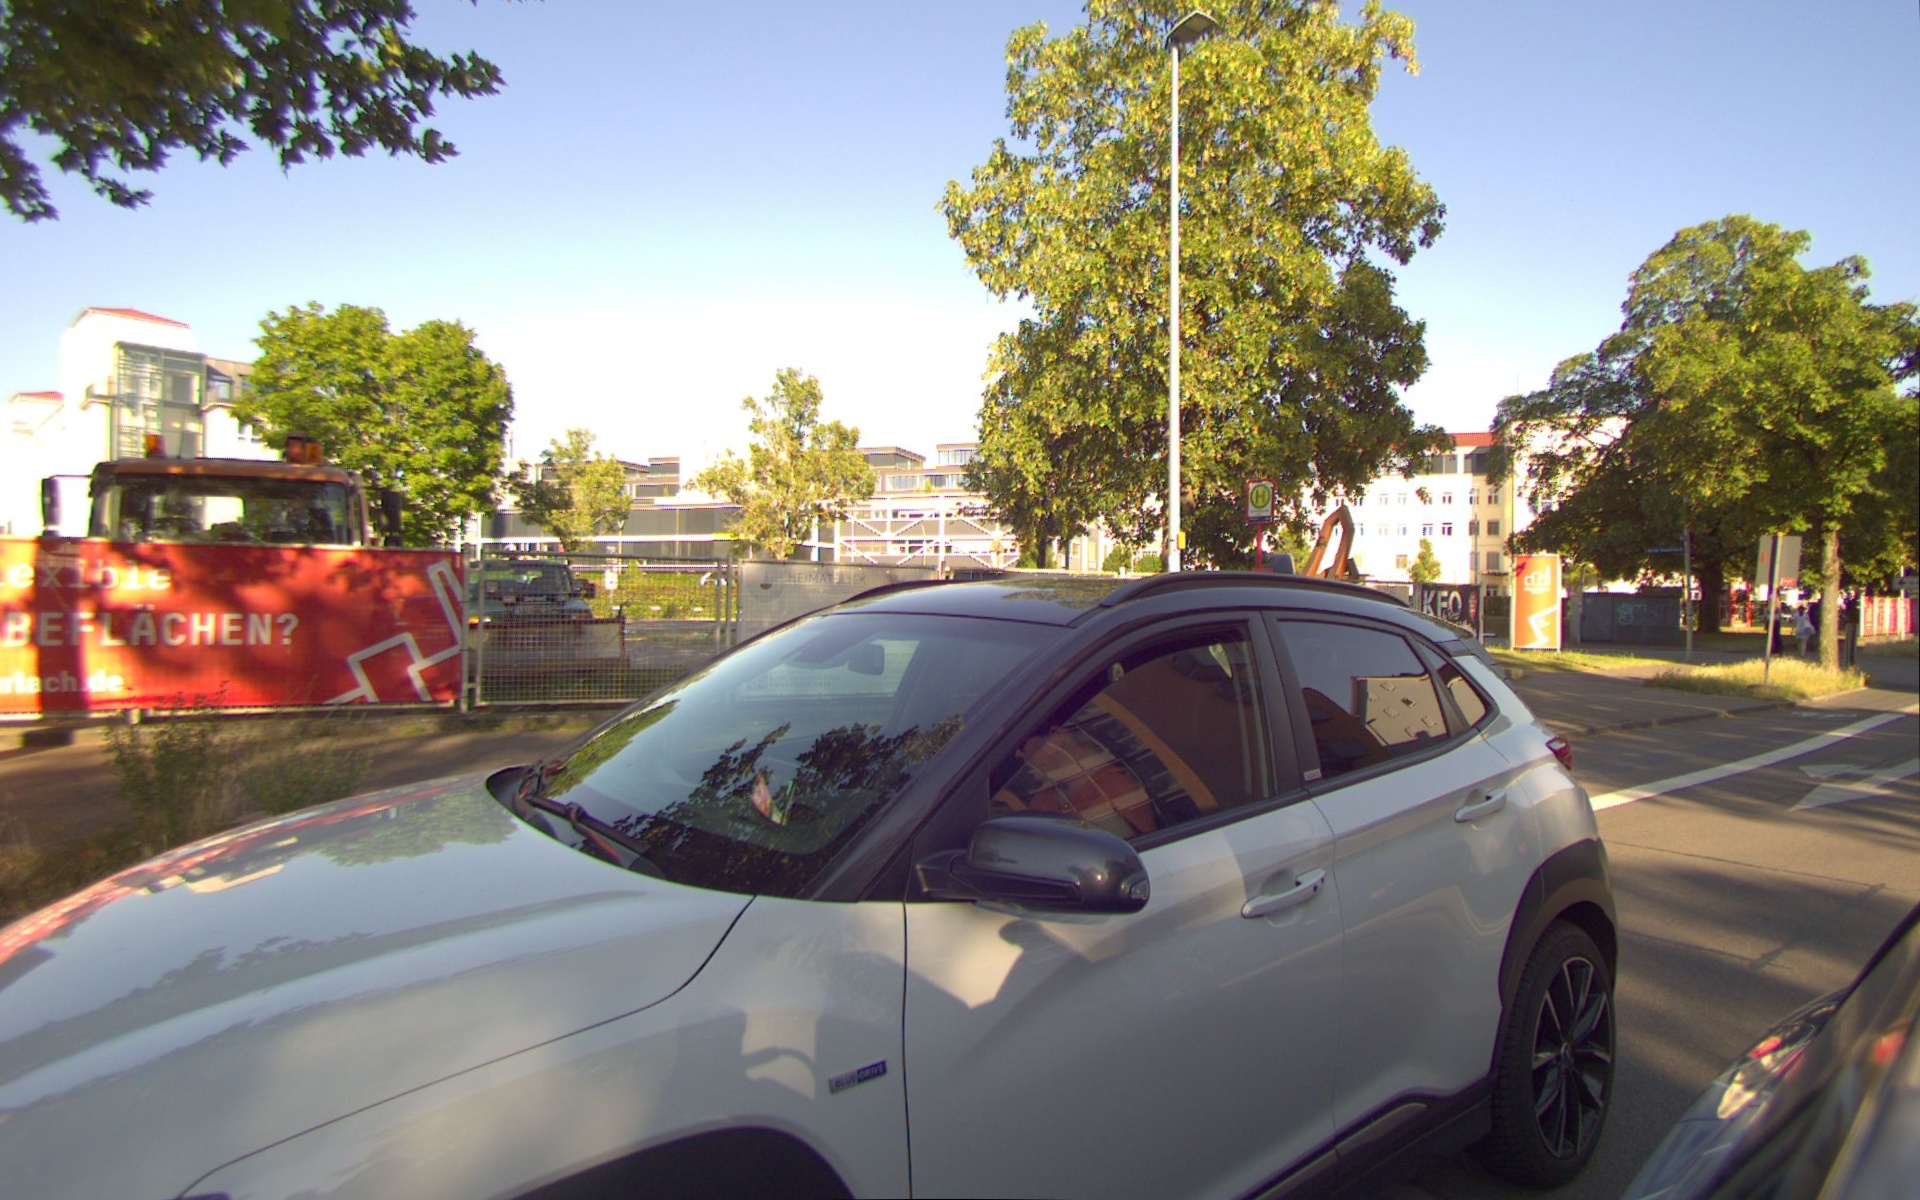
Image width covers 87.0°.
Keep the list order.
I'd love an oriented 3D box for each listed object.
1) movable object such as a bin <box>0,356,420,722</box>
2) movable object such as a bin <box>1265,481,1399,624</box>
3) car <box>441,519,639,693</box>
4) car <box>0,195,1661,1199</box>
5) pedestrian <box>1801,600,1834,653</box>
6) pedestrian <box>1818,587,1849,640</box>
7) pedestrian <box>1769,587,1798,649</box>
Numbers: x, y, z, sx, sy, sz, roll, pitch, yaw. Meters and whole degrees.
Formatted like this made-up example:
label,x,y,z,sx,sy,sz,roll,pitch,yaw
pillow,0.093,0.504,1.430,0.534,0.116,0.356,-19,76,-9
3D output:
label,x,y,z,sx,sy,sz,roll,pitch,yaw
movable object such as a bin,-8.395,-0.548,12.057,3.154,3.087,6.295,0,0,-31
movable object such as a bin,15.518,-1.880,42.764,3.910,5.547,6.022,0,0,6
car,-5.672,0.044,13.296,2.001,1.851,4.612,0,0,-28
car,-0.033,0.568,2.491,3.893,1.618,1.894,3,-2,-39
pedestrian,24.209,0.737,28.575,0.627,1.452,0.609,0,0,-40
pedestrian,27.763,0.421,32.188,0.692,1.689,0.630,0,0,38
pedestrian,23.875,0.505,29.341,0.607,1.759,0.629,0,0,44
